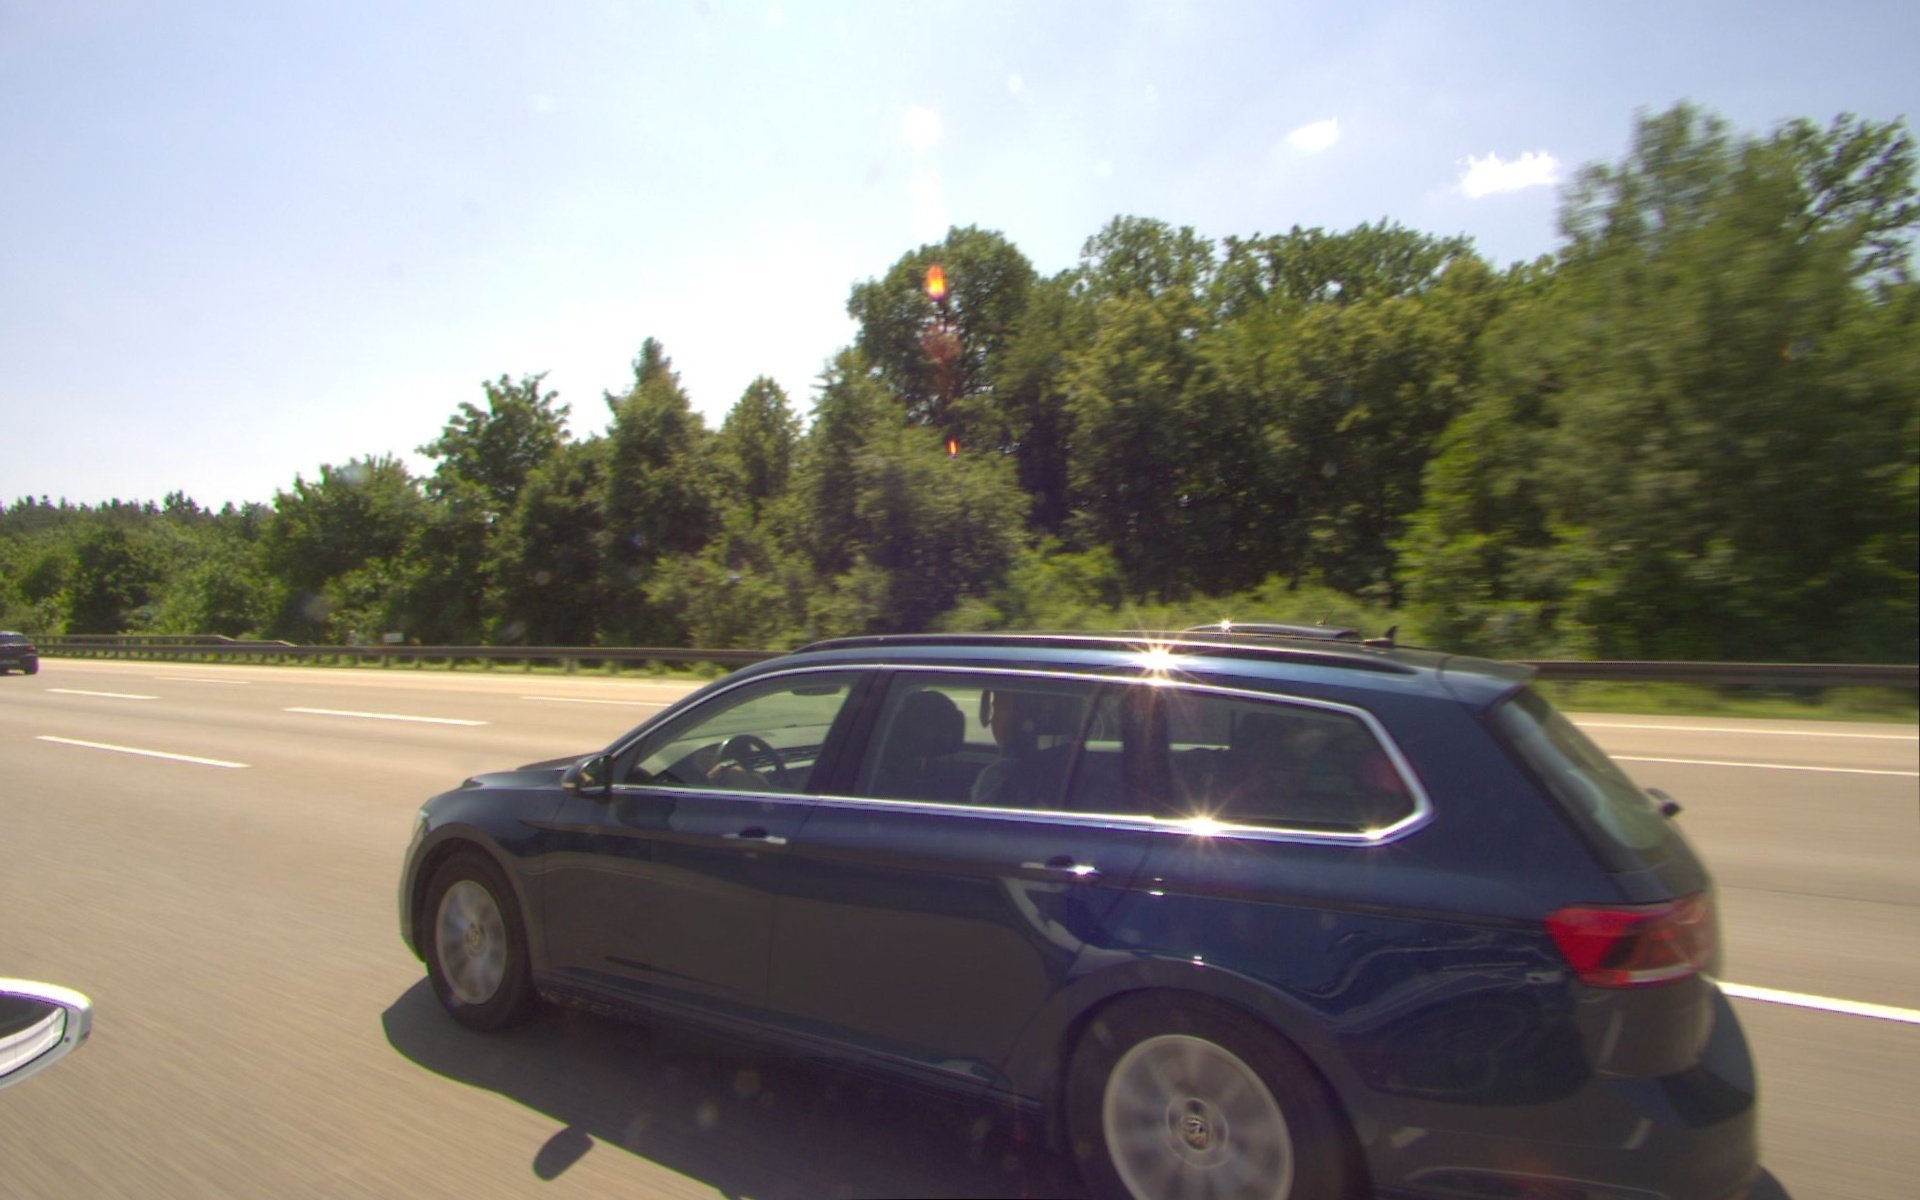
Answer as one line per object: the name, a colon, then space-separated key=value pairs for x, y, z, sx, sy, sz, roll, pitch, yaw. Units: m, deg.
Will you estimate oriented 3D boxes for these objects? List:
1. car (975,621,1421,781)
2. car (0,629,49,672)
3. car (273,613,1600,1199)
car: x=2.545 y=0.977 z=11.165 sx=4.568 sy=1.457 sz=1.640 roll=0 pitch=-1 yaw=32
car: x=-31.731 y=1.637 z=32.836 sx=4.228 sy=1.290 sz=1.667 roll=-1 pitch=0 yaw=32
car: x=-0.494 y=0.808 z=3.785 sx=4.891 sy=1.466 sz=1.726 roll=-1 pitch=0 yaw=33
